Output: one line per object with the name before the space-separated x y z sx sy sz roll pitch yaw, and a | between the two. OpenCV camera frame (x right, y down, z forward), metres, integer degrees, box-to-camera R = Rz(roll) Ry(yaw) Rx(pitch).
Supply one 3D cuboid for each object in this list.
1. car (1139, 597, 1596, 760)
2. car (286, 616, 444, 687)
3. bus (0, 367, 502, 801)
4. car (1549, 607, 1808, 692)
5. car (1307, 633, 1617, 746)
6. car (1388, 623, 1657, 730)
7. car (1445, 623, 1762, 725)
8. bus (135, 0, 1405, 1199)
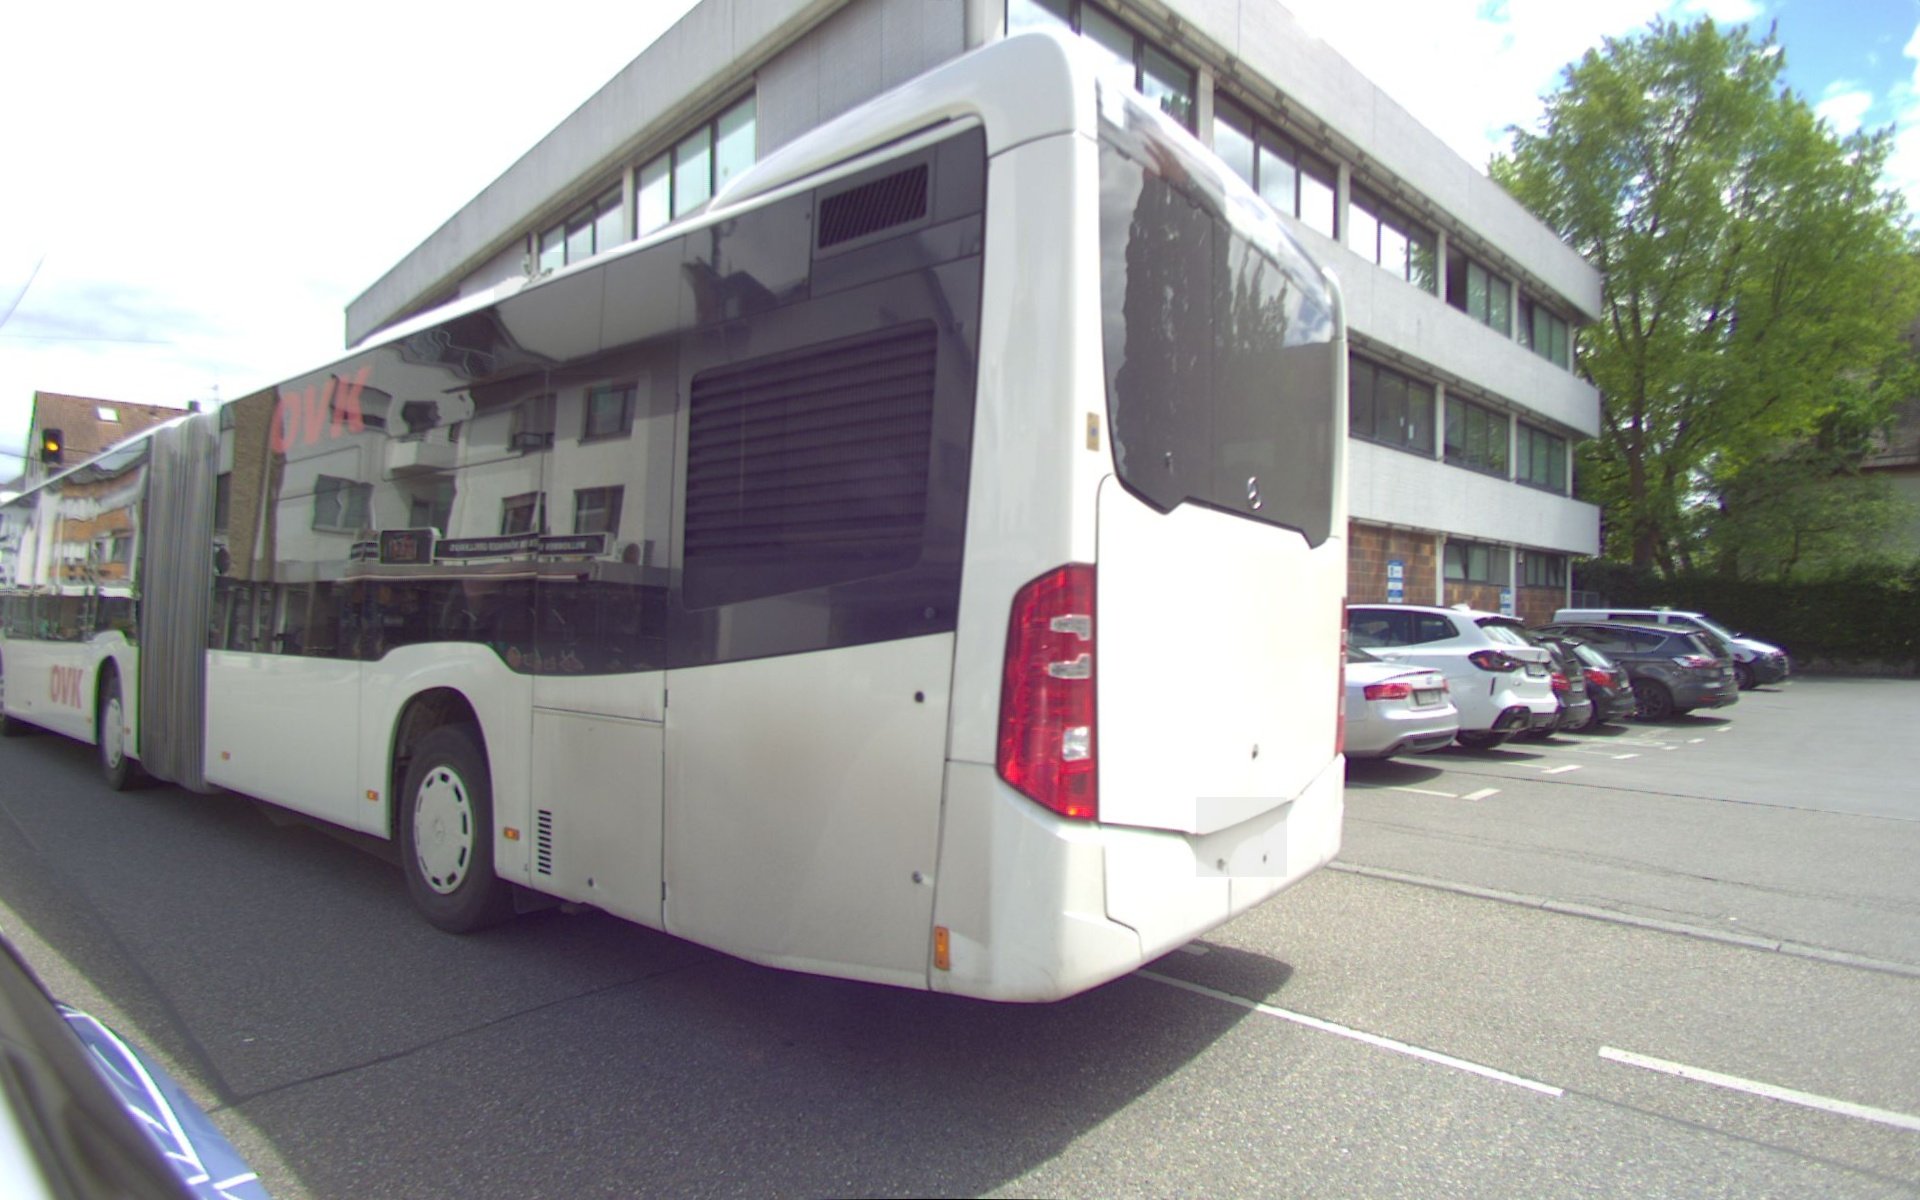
car | 4.817 0.884 12.612 1.927 1.632 4.935 5 -4 -42
car | -13.975 1.118 23.636 4.955 1.455 2.021 -1 0 45
bus | -9.089 -0.062 11.691 10.173 3.188 2.656 0 -2 39
car | 18.180 1.172 25.826 1.944 1.956 5.094 1 -1 -42
car | 7.037 1.169 14.377 3.605 1.341 1.743 -1 -2 44
car | 9.288 1.176 16.862 3.605 1.558 1.743 -1 -2 44
car | 11.374 1.210 18.120 1.899 1.590 4.498 2 -2 -45
bus | -2.010 -0.095 5.916 8.058 3.188 2.689 0 -2 39
